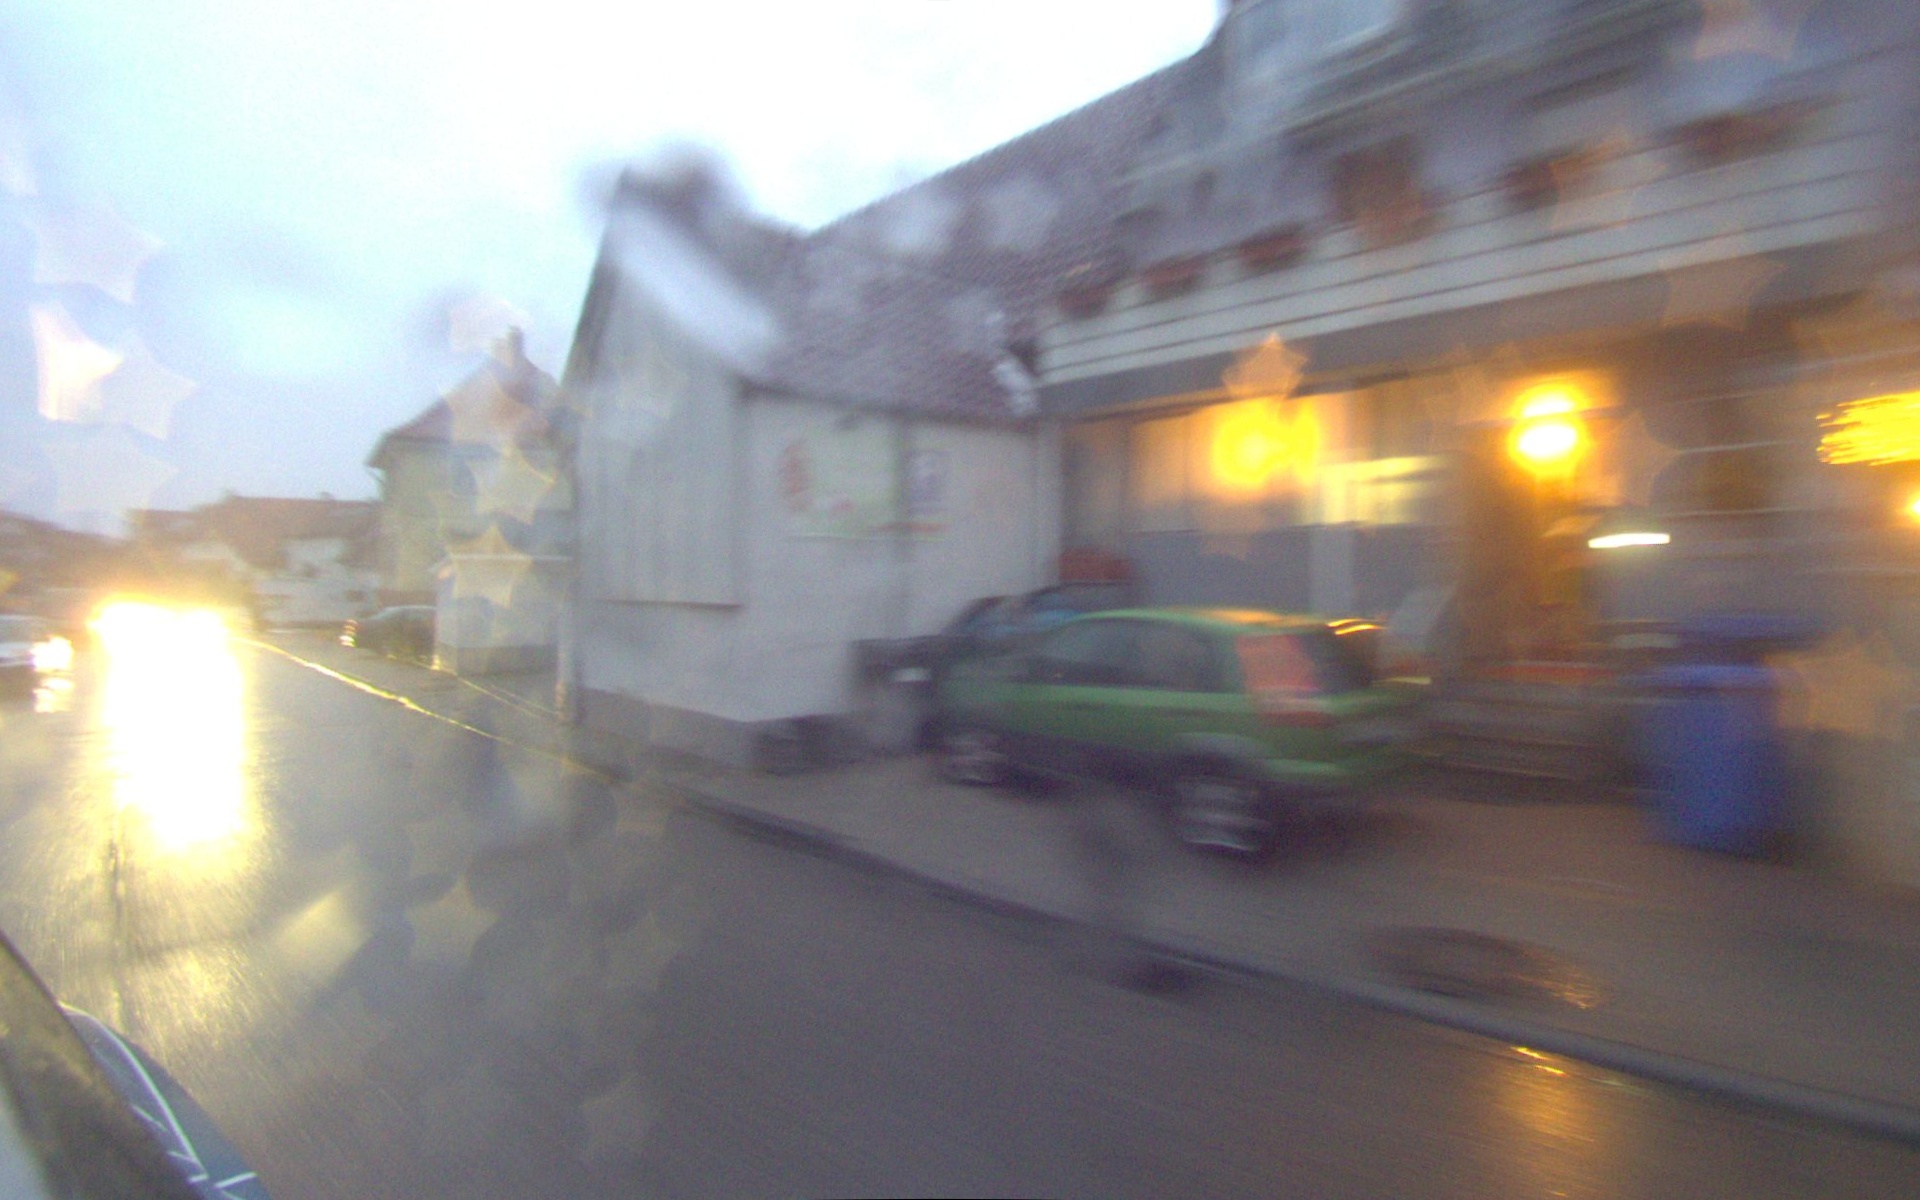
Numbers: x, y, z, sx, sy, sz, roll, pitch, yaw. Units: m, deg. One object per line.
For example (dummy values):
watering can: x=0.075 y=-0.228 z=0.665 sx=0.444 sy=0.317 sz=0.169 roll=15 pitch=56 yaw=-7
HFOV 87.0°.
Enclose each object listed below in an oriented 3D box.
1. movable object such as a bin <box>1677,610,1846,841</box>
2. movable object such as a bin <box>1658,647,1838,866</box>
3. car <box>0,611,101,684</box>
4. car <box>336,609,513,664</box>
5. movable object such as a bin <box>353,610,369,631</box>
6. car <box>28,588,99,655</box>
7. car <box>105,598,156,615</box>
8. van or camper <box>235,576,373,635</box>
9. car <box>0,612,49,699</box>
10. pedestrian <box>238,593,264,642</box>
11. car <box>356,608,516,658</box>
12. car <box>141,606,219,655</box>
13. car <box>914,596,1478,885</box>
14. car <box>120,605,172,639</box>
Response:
movable object such as a bin: x=4.919 y=0.720 z=6.215 sx=0.731 sy=1.307 sz=0.602 roll=-1 pitch=-1 yaw=44
movable object such as a bin: x=4.479 y=0.839 z=5.758 sx=0.731 sy=1.111 sz=0.602 roll=-1 pitch=-1 yaw=44
car: x=-21.893 y=1.073 z=24.335 sx=1.617 sy=1.482 sz=4.009 roll=-3 pitch=2 yaw=-37
car: x=-16.373 y=1.048 z=31.022 sx=4.534 sy=1.481 sz=2.004 roll=-1 pitch=1 yaw=-38
movable object such as a bin: x=-30.267 y=1.037 z=51.130 sx=0.608 sy=1.028 sz=0.582 roll=-2 pitch=1 yaw=-34
car: x=-36.768 y=0.820 z=41.600 sx=1.984 sy=2.472 sz=5.623 roll=-3 pitch=2 yaw=-41
car: x=-88.035 y=0.683 z=107.435 sx=3.933 sy=1.674 sz=1.760 roll=-2 pitch=1 yaw=-33
van or camper: x=-35.074 y=0.319 z=54.218 sx=5.980 sy=2.964 sz=2.328 roll=1 pitch=-1 yaw=-39
car: x=-18.838 y=1.048 z=19.589 sx=1.618 sy=1.505 sz=4.006 roll=-3 pitch=2 yaw=-41
pedestrian: x=-30.565 y=0.744 z=43.611 sx=0.774 sy=2.028 sz=0.871 roll=-3 pitch=3 yaw=-39
car: x=-17.431 y=1.039 z=33.744 sx=4.541 sy=1.481 sz=1.897 roll=-1 pitch=1 yaw=-34
car: x=-28.347 y=1.057 z=36.724 sx=1.961 sy=1.569 sz=4.242 roll=-2 pitch=2 yaw=-41
car: x=1.423 y=0.731 z=7.305 sx=1.598 sy=1.432 sz=3.812 roll=-3 pitch=2 yaw=-37
car: x=-41.883 y=1.093 z=52.082 sx=1.961 sy=1.569 sz=4.244 roll=-2 pitch=1 yaw=-39
